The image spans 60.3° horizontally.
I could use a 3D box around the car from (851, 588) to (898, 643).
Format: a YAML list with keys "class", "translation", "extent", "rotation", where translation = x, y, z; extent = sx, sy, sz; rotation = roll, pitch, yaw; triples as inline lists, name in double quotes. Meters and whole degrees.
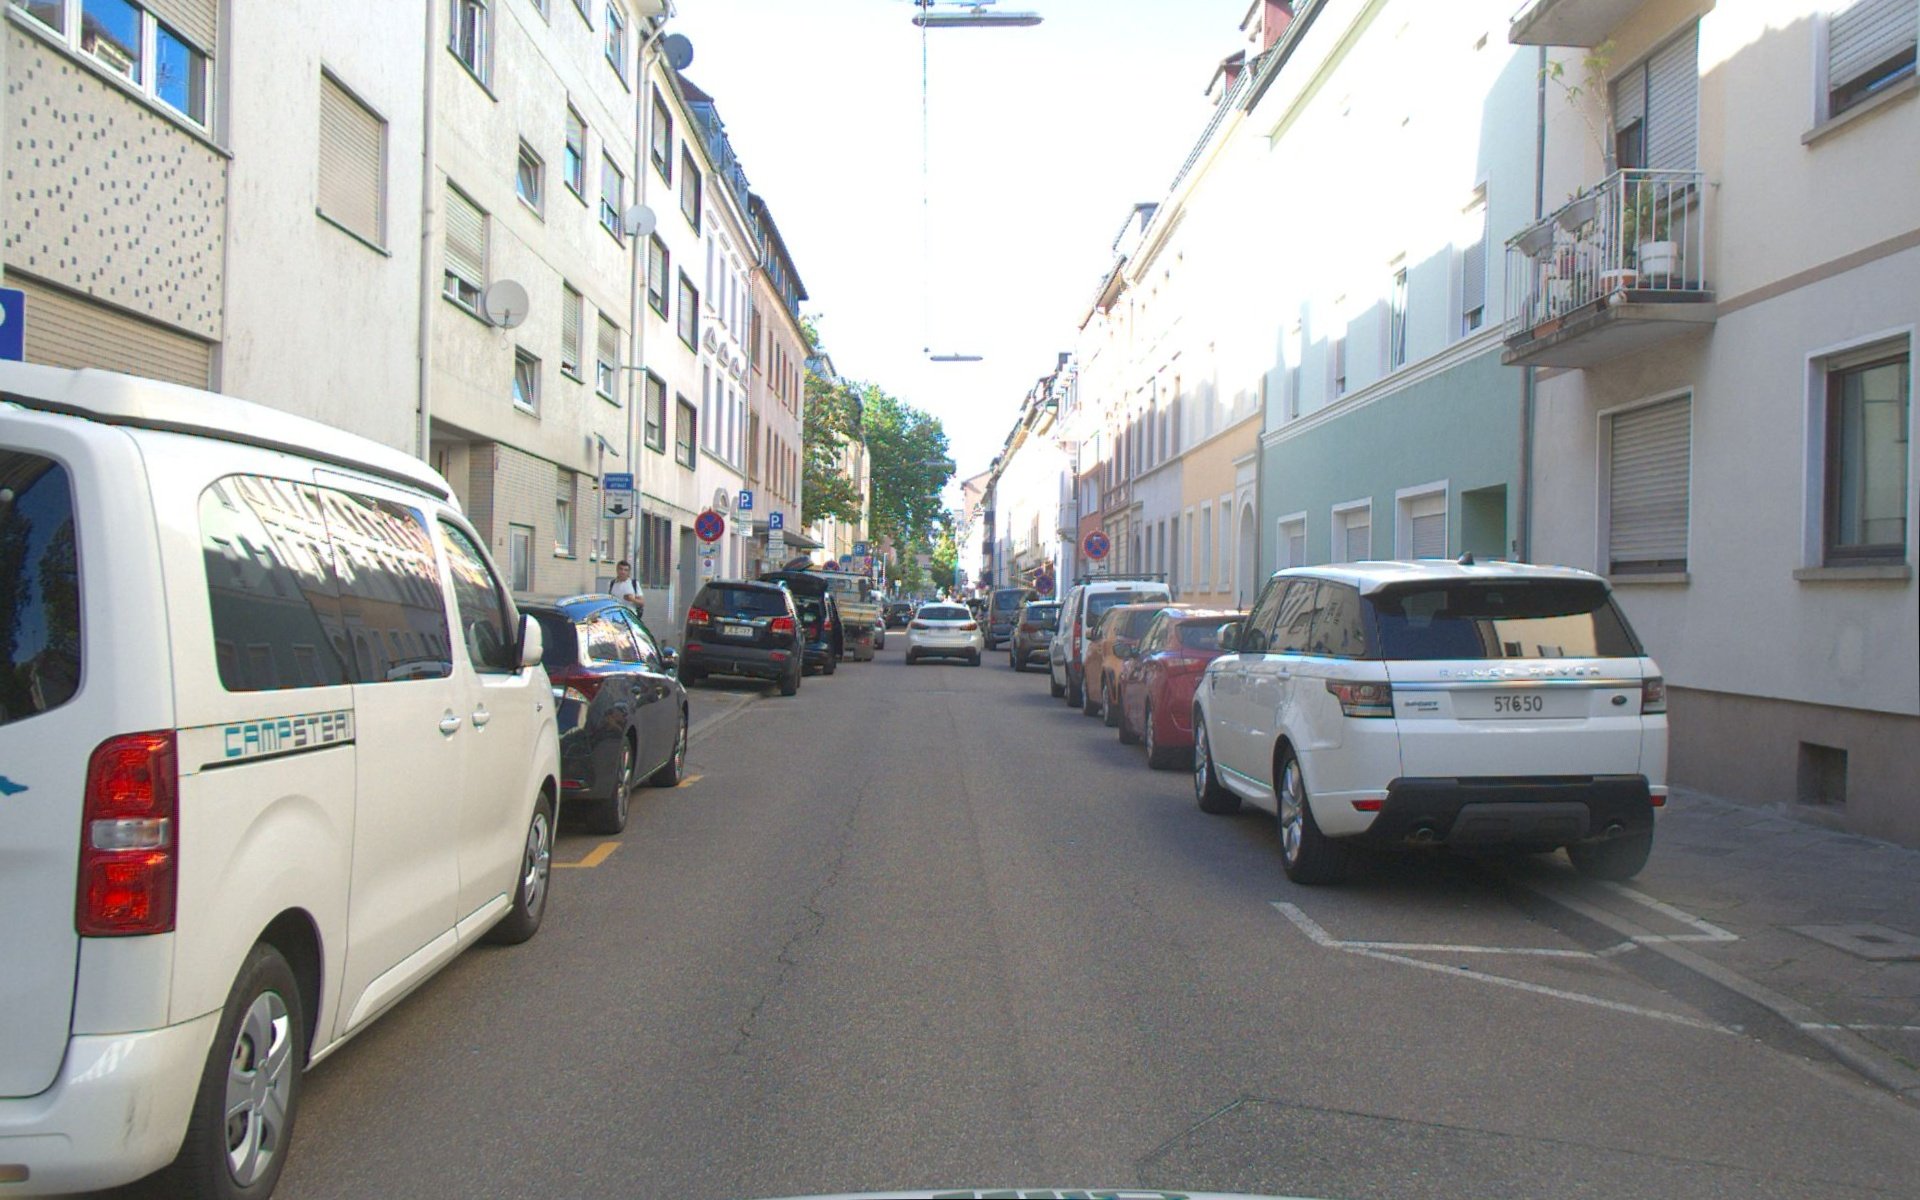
- class: "car"
  translation: [-3.112, 0.544, 60.122]
  extent: [1.614, 1.900, 3.997]
  rotation: [1, 0, -4]

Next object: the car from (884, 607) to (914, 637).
- class: "car"
  translation: [-3.528, 1.265, 95.721]
  extent: [1.592, 1.625, 3.579]
  rotation: [2, 0, -1]

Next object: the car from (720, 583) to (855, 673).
- class: "car"
  translation: [-3.614, 0.564, 35.641]
  extent: [2.392, 1.735, 5.241]
  rotation: [2, 0, -1]

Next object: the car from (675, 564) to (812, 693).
- class: "car"
  translation: [-3.421, 0.396, 26.873]
  extent: [1.843, 1.786, 4.539]
  rotation: [4, 0, -5]

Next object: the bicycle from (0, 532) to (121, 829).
- class: "bicycle"
  translation: [-5.248, 0.405, 8.946]
  extent: [0.546, 1.535, 1.799]
  rotation: [3, 0, -4]

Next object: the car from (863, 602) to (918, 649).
- class: "car"
  translation: [-2.279, 0.808, 54.531]
  extent: [1.723, 1.440, 3.998]
  rotation: [-1, 0, -2]

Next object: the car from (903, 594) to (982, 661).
- class: "car"
  translation: [-0.398, 0.648, 40.163]
  extent: [1.796, 1.512, 4.056]
  rotation: [1, 0, 0]

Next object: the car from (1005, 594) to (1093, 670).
- class: "car"
  translation: [2.004, 0.689, 38.492]
  extent: [1.704, 1.604, 4.376]
  rotation: [1, 1, -1]

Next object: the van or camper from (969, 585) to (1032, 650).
- class: "van or camper"
  translation: [1.329, 0.580, 56.042]
  extent: [1.740, 2.072, 4.567]
  rotation: [-1, 0, -3]

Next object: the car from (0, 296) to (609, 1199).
- class: "car"
  translation: [-2.530, 0.366, 5.457]
  extent: [1.856, 1.992, 4.779]
  rotation: [3, 0, -3]

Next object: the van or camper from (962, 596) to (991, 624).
- class: "van or camper"
  translation: [1.186, 0.729, 119.036]
  extent: [1.953, 1.959, 3.999]
  rotation: [1, -1, -1]

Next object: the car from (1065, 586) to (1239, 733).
- class: "car"
  translation: [2.372, 0.688, 21.264]
  extent: [1.549, 1.660, 3.679]
  rotation: [3, 0, -4]

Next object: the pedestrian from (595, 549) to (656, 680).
- class: "pedestrian"
  translation: [-5.100, 0.219, 25.238]
  extent: [0.789, 1.968, 0.690]
  rotation: [0, 0, -1]

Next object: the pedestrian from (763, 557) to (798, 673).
- class: "pedestrian"
  translation: [-3.550, 0.299, 32.786]
  extent: [0.606, 2.268, 0.688]
  rotation: [1, -2, -1]

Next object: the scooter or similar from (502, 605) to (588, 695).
- class: "scooter or similar"
  translation: [-6.152, 0.725, 24.580]
  extent: [0.430, 1.300, 1.227]
  rotation: [0, 0, 39]

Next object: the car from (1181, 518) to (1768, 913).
- class: "car"
  translation: [2.738, 0.517, 10.194]
  extent: [1.965, 1.815, 4.937]
  rotation: [1, 1, -1]

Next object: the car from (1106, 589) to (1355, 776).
- class: "car"
  translation: [2.539, 0.708, 16.454]
  extent: [1.707, 1.596, 4.031]
  rotation: [1, 0, -1]

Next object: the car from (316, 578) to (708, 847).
- class: "car"
  translation: [-2.862, 0.641, 11.524]
  extent: [1.672, 1.475, 4.299]
  rotation: [2, 0, -2]

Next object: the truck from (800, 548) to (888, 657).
- class: "truck"
  translation: [-3.132, 0.122, 43.524]
  extent: [2.115, 2.636, 6.241]
  rotation: [1, -1, -6]

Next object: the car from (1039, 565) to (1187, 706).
- class: "car"
  translation: [2.306, 0.518, 25.898]
  extent: [1.746, 1.996, 4.334]
  rotation: [1, 0, -2]
